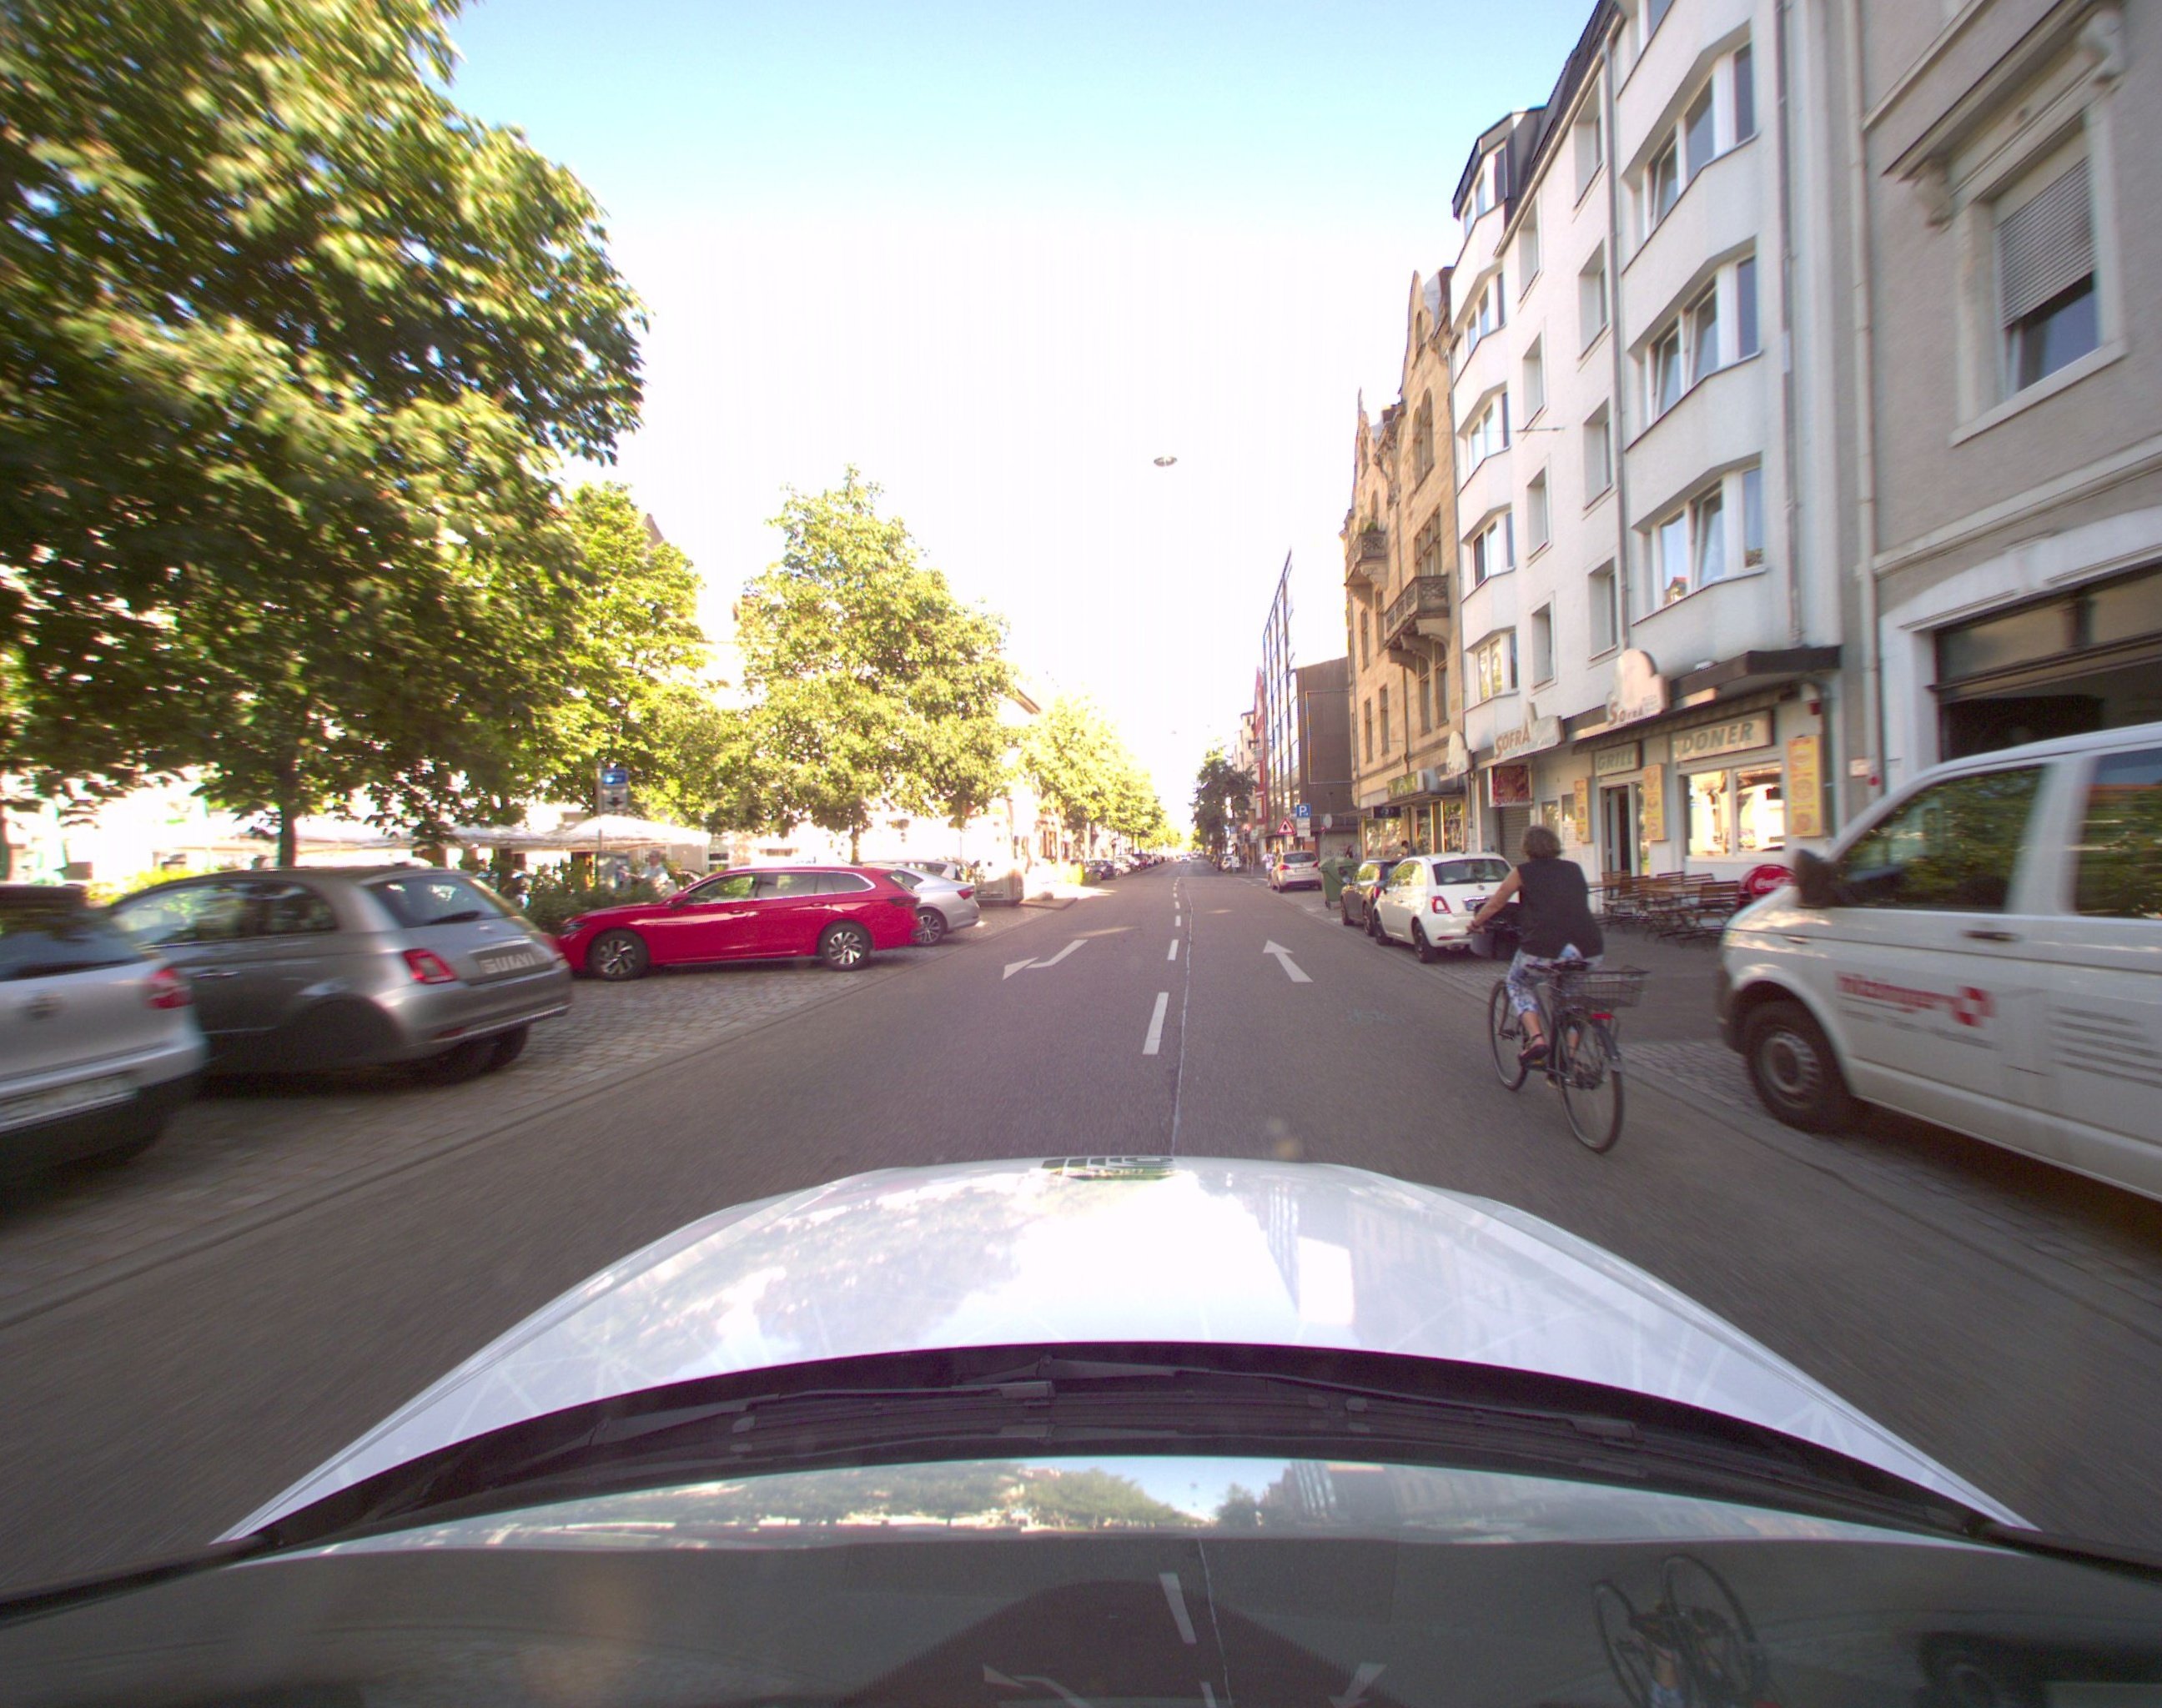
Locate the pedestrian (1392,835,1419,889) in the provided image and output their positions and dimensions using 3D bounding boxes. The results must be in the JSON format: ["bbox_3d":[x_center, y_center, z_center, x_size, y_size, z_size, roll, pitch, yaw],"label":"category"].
[{"bbox_3d":[11.108,0.287,27.857,0.604,1.788,0.685,-3,-2,6],"label":"pedestrian"}]

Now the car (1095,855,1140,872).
[{"bbox_3d":[3.423,0.880,75.524,3.964,1.508,2.005,0,-1,8],"label":"car"}]

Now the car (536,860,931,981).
[{"bbox_3d":[-4.671,0.847,11.652,4.845,1.488,1.755,0,-1,-16],"label":"car"}]

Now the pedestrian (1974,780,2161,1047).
[{"bbox_3d":[6.665,0.376,5.369,0.745,1.607,0.459,-8,-2,7],"label":"pedestrian"}]

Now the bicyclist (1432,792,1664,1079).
[{"bbox_3d":[2.619,0.421,4.717,0.782,1.453,1.097,0,-1,6],"label":"bicyclist"}]

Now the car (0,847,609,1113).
[{"bbox_3d":[-5.918,0.783,5.916,3.969,1.598,1.752,0,-1,4],"label":"car"}]

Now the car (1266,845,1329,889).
[{"bbox_3d":[8.778,0.531,33.341,1.888,1.675,4.835,0,-1,7],"label":"car"}]

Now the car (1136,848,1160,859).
[{"bbox_3d":[12.375,-0.039,149.843,3.955,2.014,2.009,-1,-1,17],"label":"car"}]

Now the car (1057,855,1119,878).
[{"bbox_3d":[0.534,0.873,55.591,3.964,1.508,2.005,0,-1,8],"label":"car"}]

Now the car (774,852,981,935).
[{"bbox_3d":[-4.314,0.773,17.255,4.005,1.586,1.816,0,-1,-24],"label":"car"}]

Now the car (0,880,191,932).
[{"bbox_3d":[-37.640,1.942,30.924,4.864,1.804,1.900,0,-1,-15],"label":"car"}]

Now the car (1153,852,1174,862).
[{"bbox_3d":[17.239,0.691,170.053,3.955,2.014,2.009,-1,-1,17],"label":"car"}]

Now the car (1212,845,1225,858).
[{"bbox_3d":[22.560,-0.359,133.591,1.983,2.013,4.008,-1,0,7],"label":"car"}]

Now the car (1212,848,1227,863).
[{"bbox_3d":[19.858,0.220,116.949,1.983,2.013,4.008,-3,0,7],"label":"car"}]

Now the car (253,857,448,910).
[{"bbox_3d":[-29.525,1.155,33.143,5.592,2.014,1.806,0,-1,-19],"label":"car"}]

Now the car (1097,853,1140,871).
[{"bbox_3d":[3.602,0.780,78.014,3.964,1.674,2.094,0,-1,8],"label":"car"}]

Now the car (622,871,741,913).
[{"bbox_3d":[-15.796,1.460,32.444,3.914,1.564,1.970,0,-1,-15],"label":"car"}]

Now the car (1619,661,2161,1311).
[{"bbox_3d":[4.353,0.384,2.839,1.983,2.005,5.126,-2,0,6],"label":"car"}]

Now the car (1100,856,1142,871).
[{"bbox_3d":[3.939,0.936,80.274,3.964,1.508,2.005,0,-1,8],"label":"car"}]

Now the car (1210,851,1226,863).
[{"bbox_3d":[17.873,0.402,106.475,1.983,1.453,4.008,-1,0,7],"label":"car"}]

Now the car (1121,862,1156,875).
[{"bbox_3d":[7.104,1.744,100.196,3.961,1.508,2.006,1,-1,11],"label":"car"}]

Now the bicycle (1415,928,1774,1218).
[{"bbox_3d":[2.633,1.009,4.662,0.649,0.958,2.703,0,-1,7],"label":"bicycle"}]

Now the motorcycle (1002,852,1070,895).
[{"bbox_3d":[-1.775,0.768,32.248,2.449,1.604,1.005,-3,-1,26],"label":"motorcycle"}]

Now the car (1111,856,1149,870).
[{"bbox_3d":[5.308,0.976,88.733,3.965,1.508,2.004,0,-1,7],"label":"car"}]

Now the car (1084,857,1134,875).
[{"bbox_3d":[2.399,1.000,68.240,3.964,1.508,2.005,0,-1,8],"label":"car"}]

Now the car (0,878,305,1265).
[{"bbox_3d":[-6.094,0.850,3.331,3.977,1.448,1.802,0,-1,-2],"label":"car"}]

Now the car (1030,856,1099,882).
[{"bbox_3d":[-1.001,0.926,50.269,3.964,1.508,2.005,0,-1,8],"label":"car"}]

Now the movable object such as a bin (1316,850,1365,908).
[{"bbox_3d":[7.265,0.679,22.868,1.066,1.457,1.498,-4,0,13],"label":"movable object such as a bin"}]

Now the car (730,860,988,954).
[{"bbox_3d":[-3.935,0.865,14.564,4.239,1.477,1.722,0,-1,-23],"label":"car"}]

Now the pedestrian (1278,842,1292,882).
[{"bbox_3d":[9.214,0.372,36.786,0.509,1.780,0.613,0,-1,6],"label":"pedestrian"}]

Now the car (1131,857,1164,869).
[{"bbox_3d":[8.638,1.155,105.794,3.961,1.508,2.006,1,-1,11],"label":"car"}]

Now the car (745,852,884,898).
[{"bbox_3d":[-10.972,0.834,33.740,5.279,1.800,2.149,0,-1,-19],"label":"car"}]

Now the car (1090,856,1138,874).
[{"bbox_3d":[2.892,0.928,70.507,3.964,1.508,2.005,0,-1,8],"label":"car"}]

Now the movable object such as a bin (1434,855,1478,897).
[{"bbox_3d":[10.140,0.590,22.029,0.871,1.123,0.830,0,-1,7],"label":"movable object such as a bin"}]

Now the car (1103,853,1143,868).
[{"bbox_3d":[4.366,0.713,84.187,3.964,1.508,1.899,0,-1,8],"label":"car"}]

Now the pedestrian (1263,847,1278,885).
[{"bbox_3d":[8.737,0.536,37.490,0.610,1.735,0.635,-1,-1,9],"label":"pedestrian"}]

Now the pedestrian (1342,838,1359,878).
[{"bbox_3d":[12.947,0.207,39.058,0.639,1.871,0.631,-1,-1,30],"label":"pedestrian"}]

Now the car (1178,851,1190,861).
[{"bbox_3d":[18.260,0.364,144.855,1.982,1.556,4.009,0,-1,8],"label":"car"}]

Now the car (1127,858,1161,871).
[{"bbox_3d":[8.022,1.343,103.390,3.961,1.508,2.006,1,-1,11],"label":"car"}]

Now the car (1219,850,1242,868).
[{"bbox_3d":[13.643,0.462,74.342,1.981,1.618,4.021,0,-1,10],"label":"car"}]

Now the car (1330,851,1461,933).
[{"bbox_3d":[6.160,0.710,16.375,1.668,1.448,3.794,0,-1,8],"label":"car"}]

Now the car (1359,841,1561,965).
[{"bbox_3d":[5.561,0.675,12.462,1.709,1.515,3.590,-4,-1,7],"label":"car"}]

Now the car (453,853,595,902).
[{"bbox_3d":[-20.860,0.864,30.688,3.914,1.771,1.970,0,-1,-15],"label":"car"}]

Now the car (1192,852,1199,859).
[{"bbox_3d":[29.963,0.415,212.676,1.859,1.556,4.009,0,-1,8],"label":"car"}]
